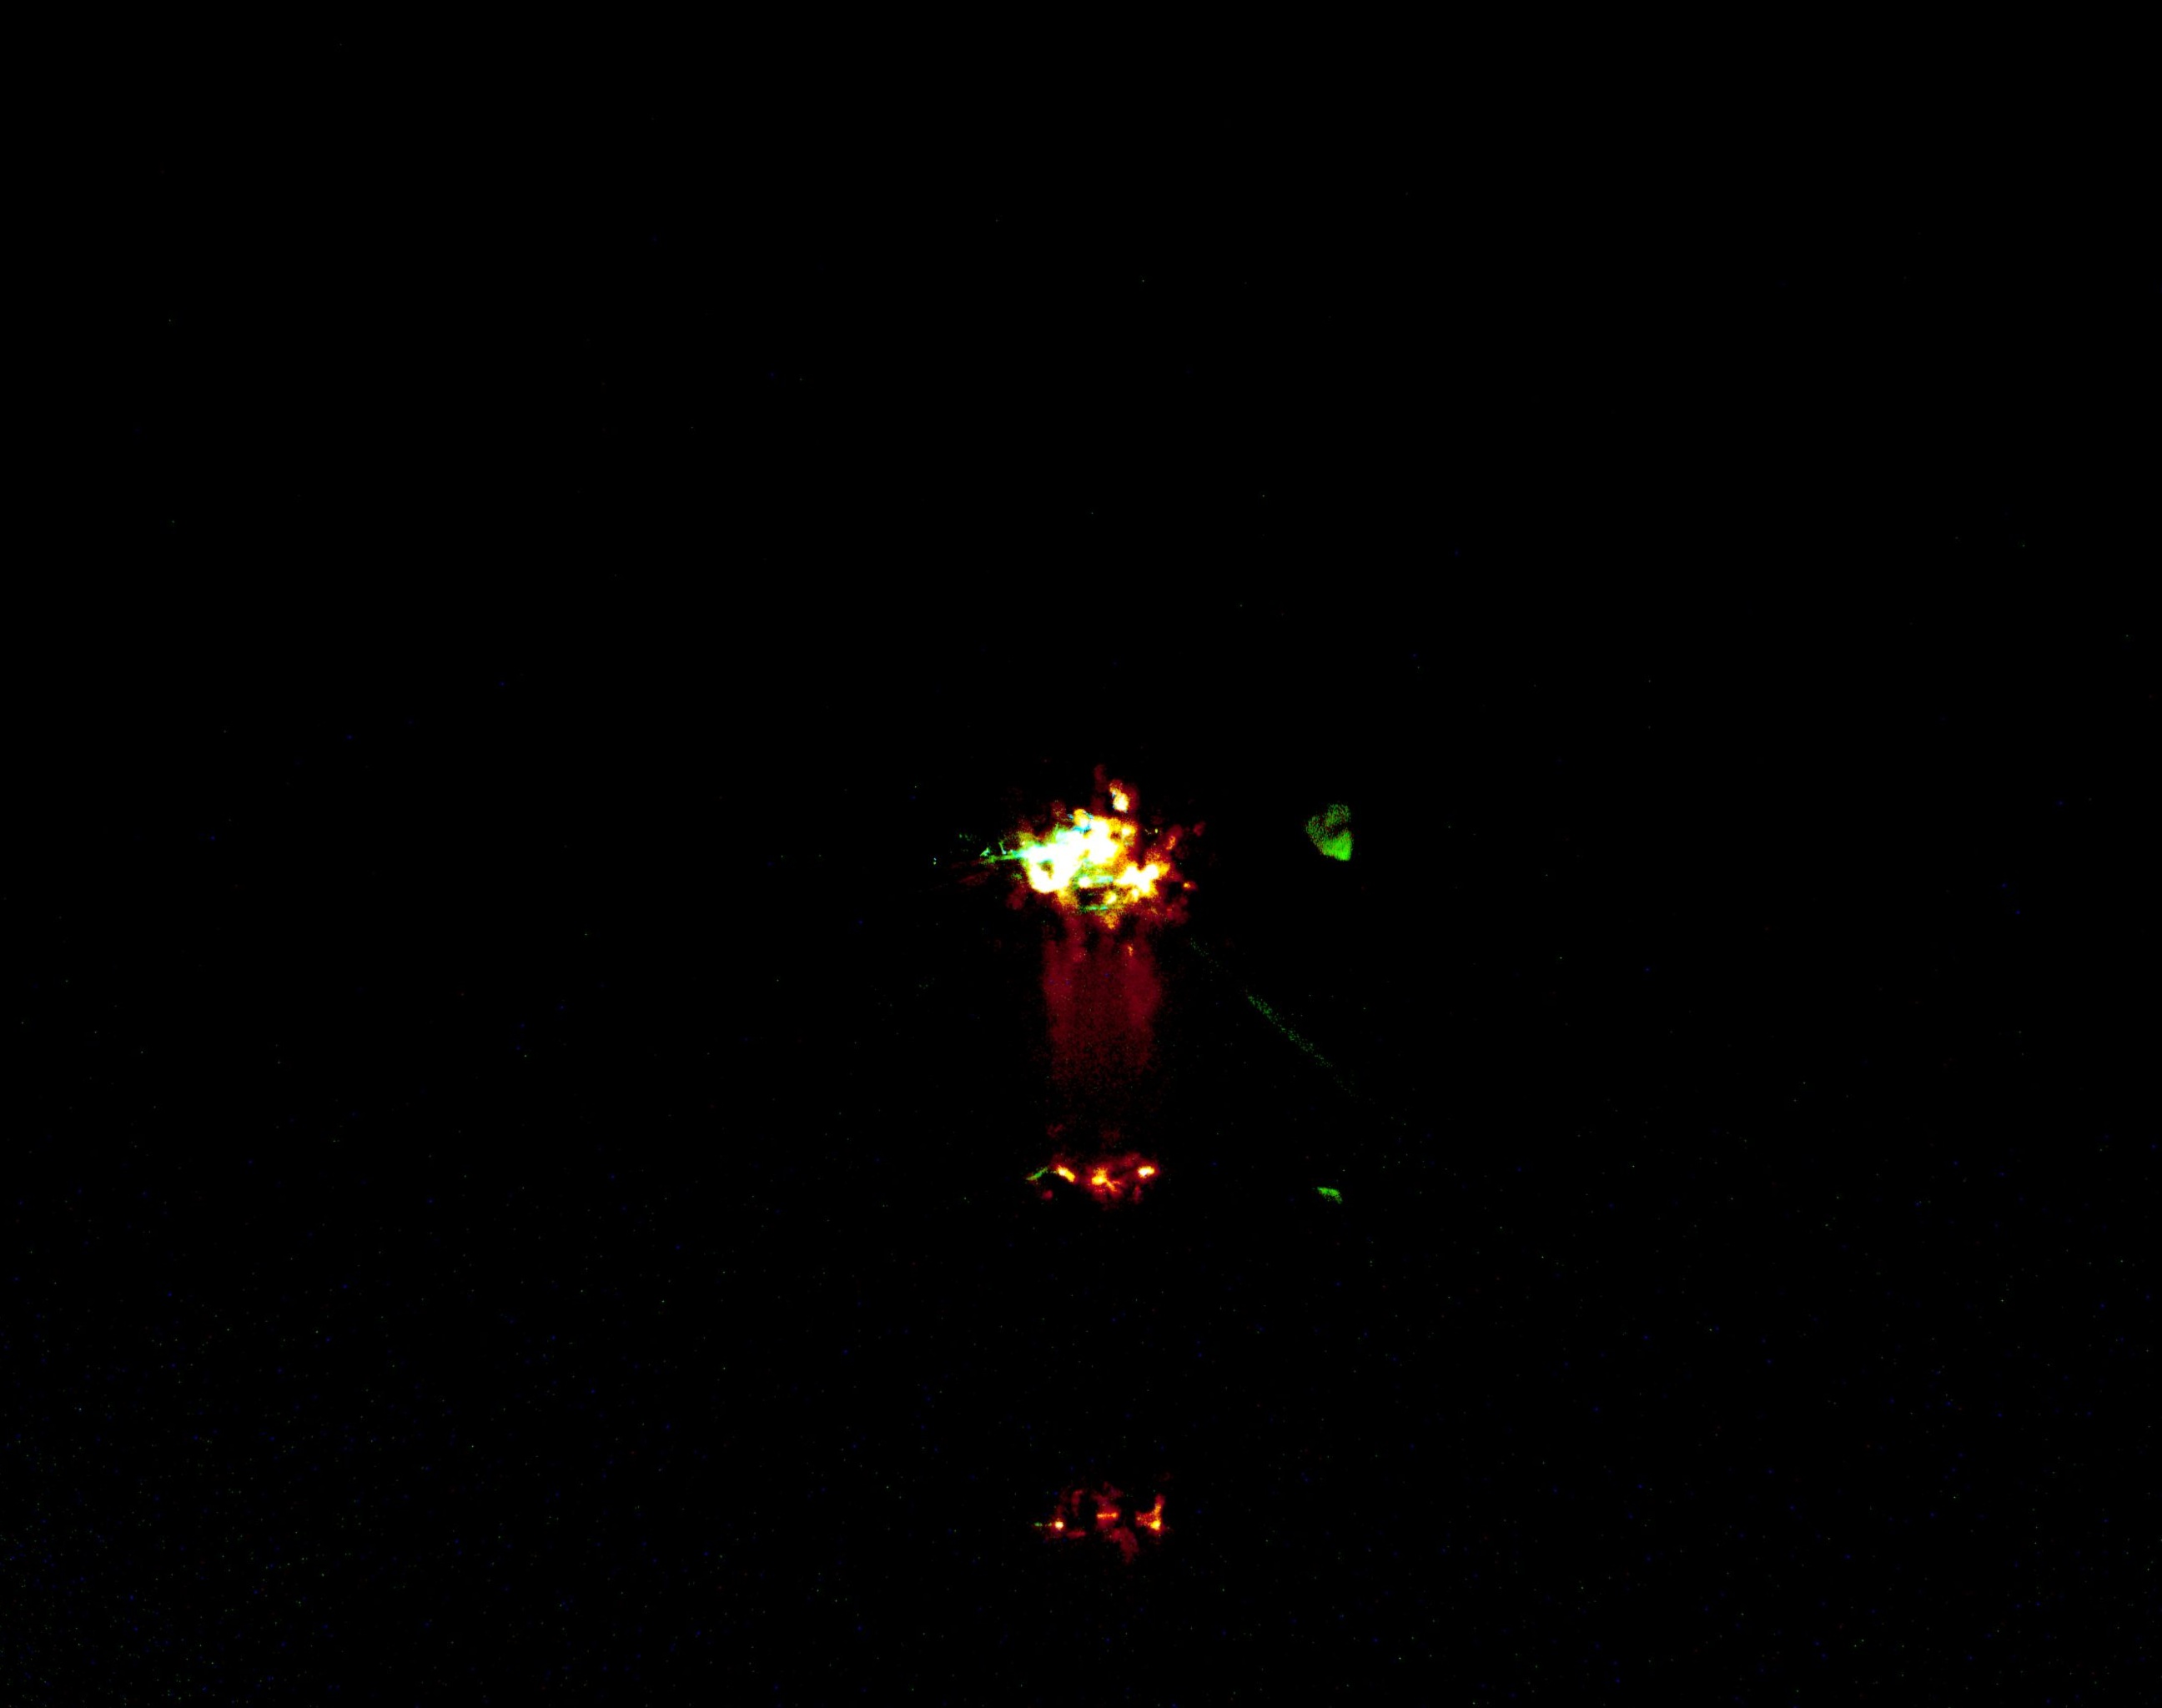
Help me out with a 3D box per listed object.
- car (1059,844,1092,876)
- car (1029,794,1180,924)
[{"bbox_3d":[-0.315,0.348,52.921,1.986,1.914,4.001,-2,0,1],"label":"car"},{"bbox_3d":[0.435,0.059,17.772,2.707,2.307,6.100,-1,1,0],"label":"car"}]
